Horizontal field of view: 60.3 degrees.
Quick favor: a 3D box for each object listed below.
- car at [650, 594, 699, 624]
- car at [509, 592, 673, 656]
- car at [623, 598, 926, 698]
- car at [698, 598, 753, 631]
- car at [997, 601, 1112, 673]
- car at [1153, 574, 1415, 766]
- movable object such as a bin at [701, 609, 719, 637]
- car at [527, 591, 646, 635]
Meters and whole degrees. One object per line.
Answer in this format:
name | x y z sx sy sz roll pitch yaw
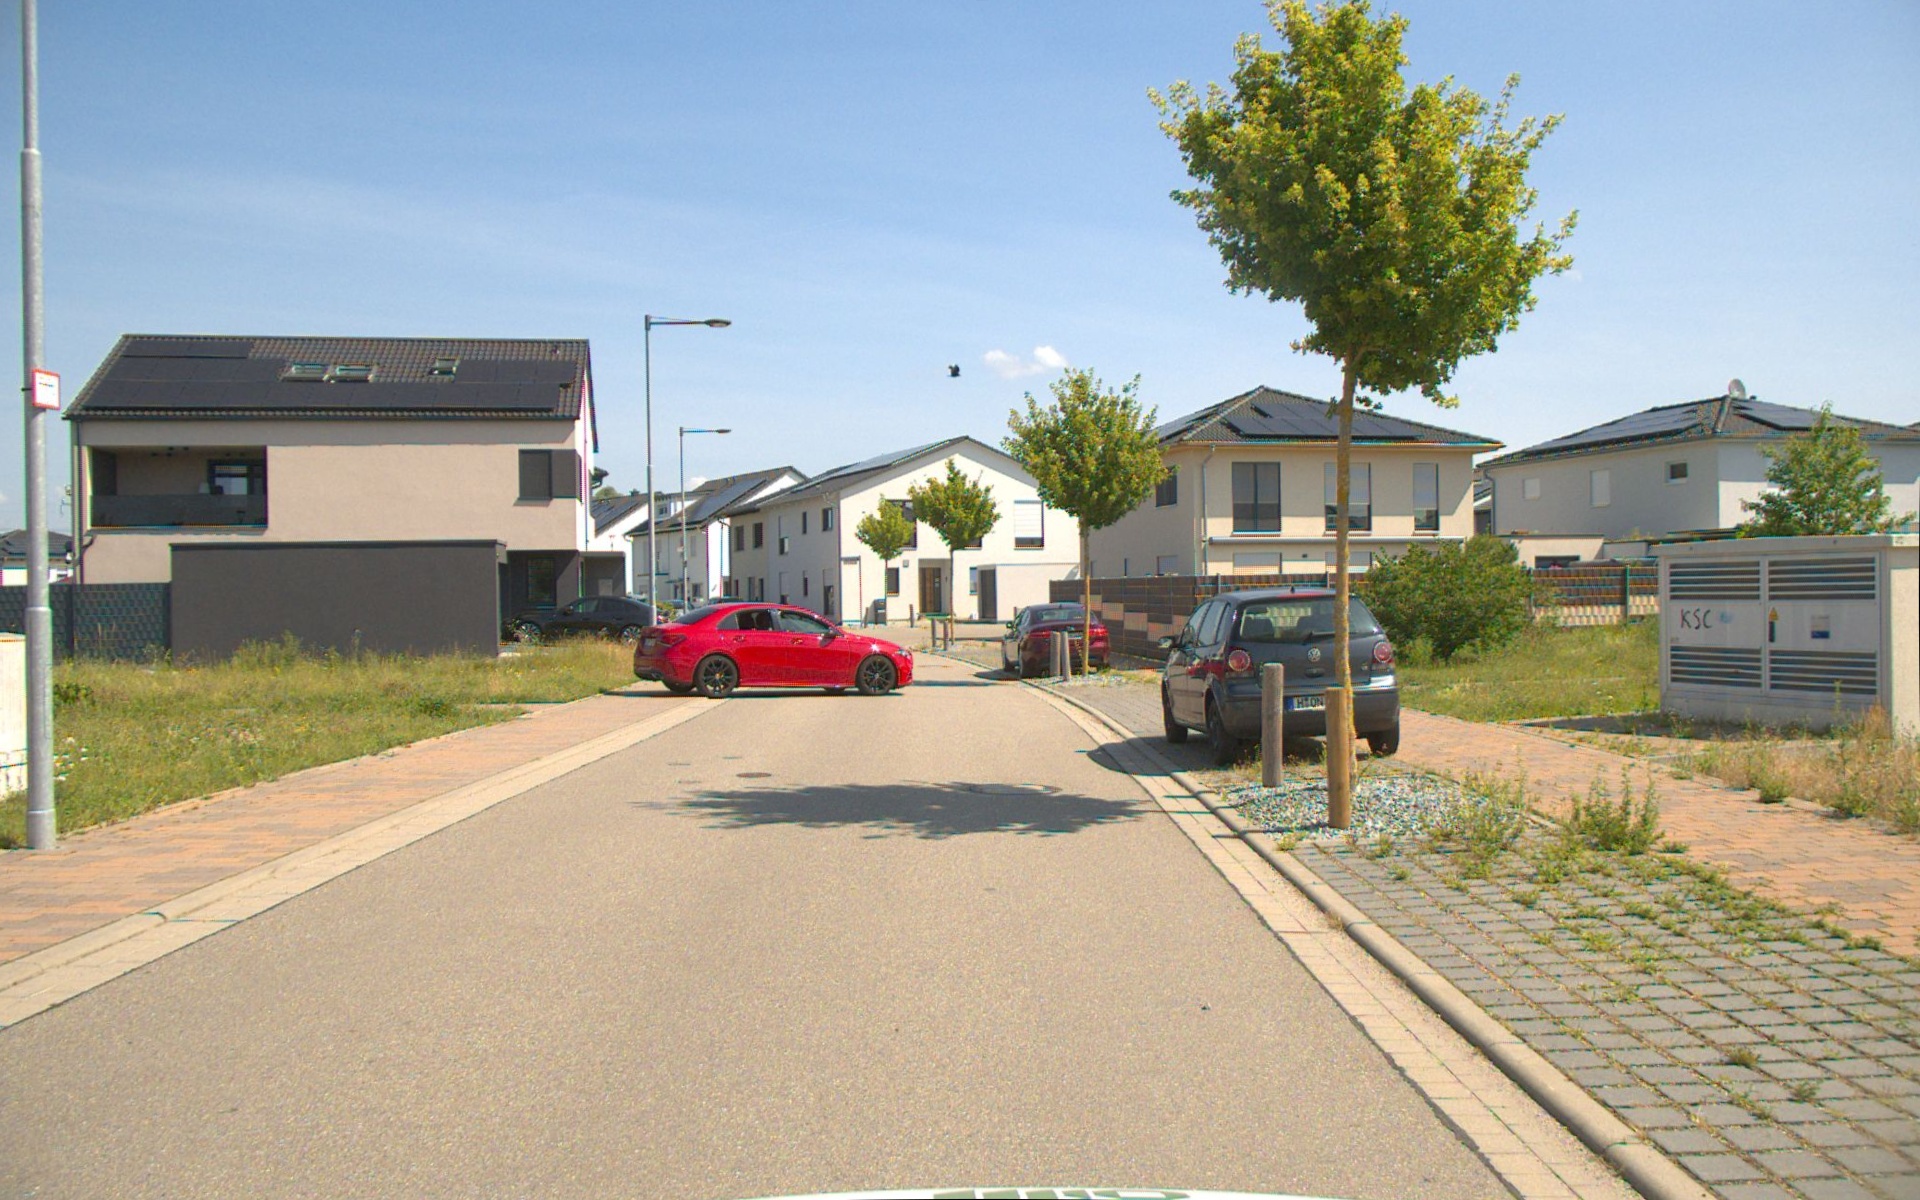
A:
car | -14.723 0.465 85.286 1.654 1.489 3.917 -2 0 -22
car | -10.215 0.668 46.061 4.294 1.660 1.767 2 0 -9
car | -2.893 0.707 26.074 4.456 1.463 1.751 0 0 -30
car | -10.865 0.650 76.360 1.701 1.447 3.976 -2 0 -20
car | 1.893 0.730 34.419 1.720 1.387 4.570 0 0 -6
car | 2.880 0.570 15.430 1.566 1.500 3.674 -3 0 -2
movable object such as a bin | -8.533 0.791 56.370 0.523 0.952 0.526 1 0 0
car | -13.201 0.443 58.655 3.911 1.512 1.751 -1 0 -7
